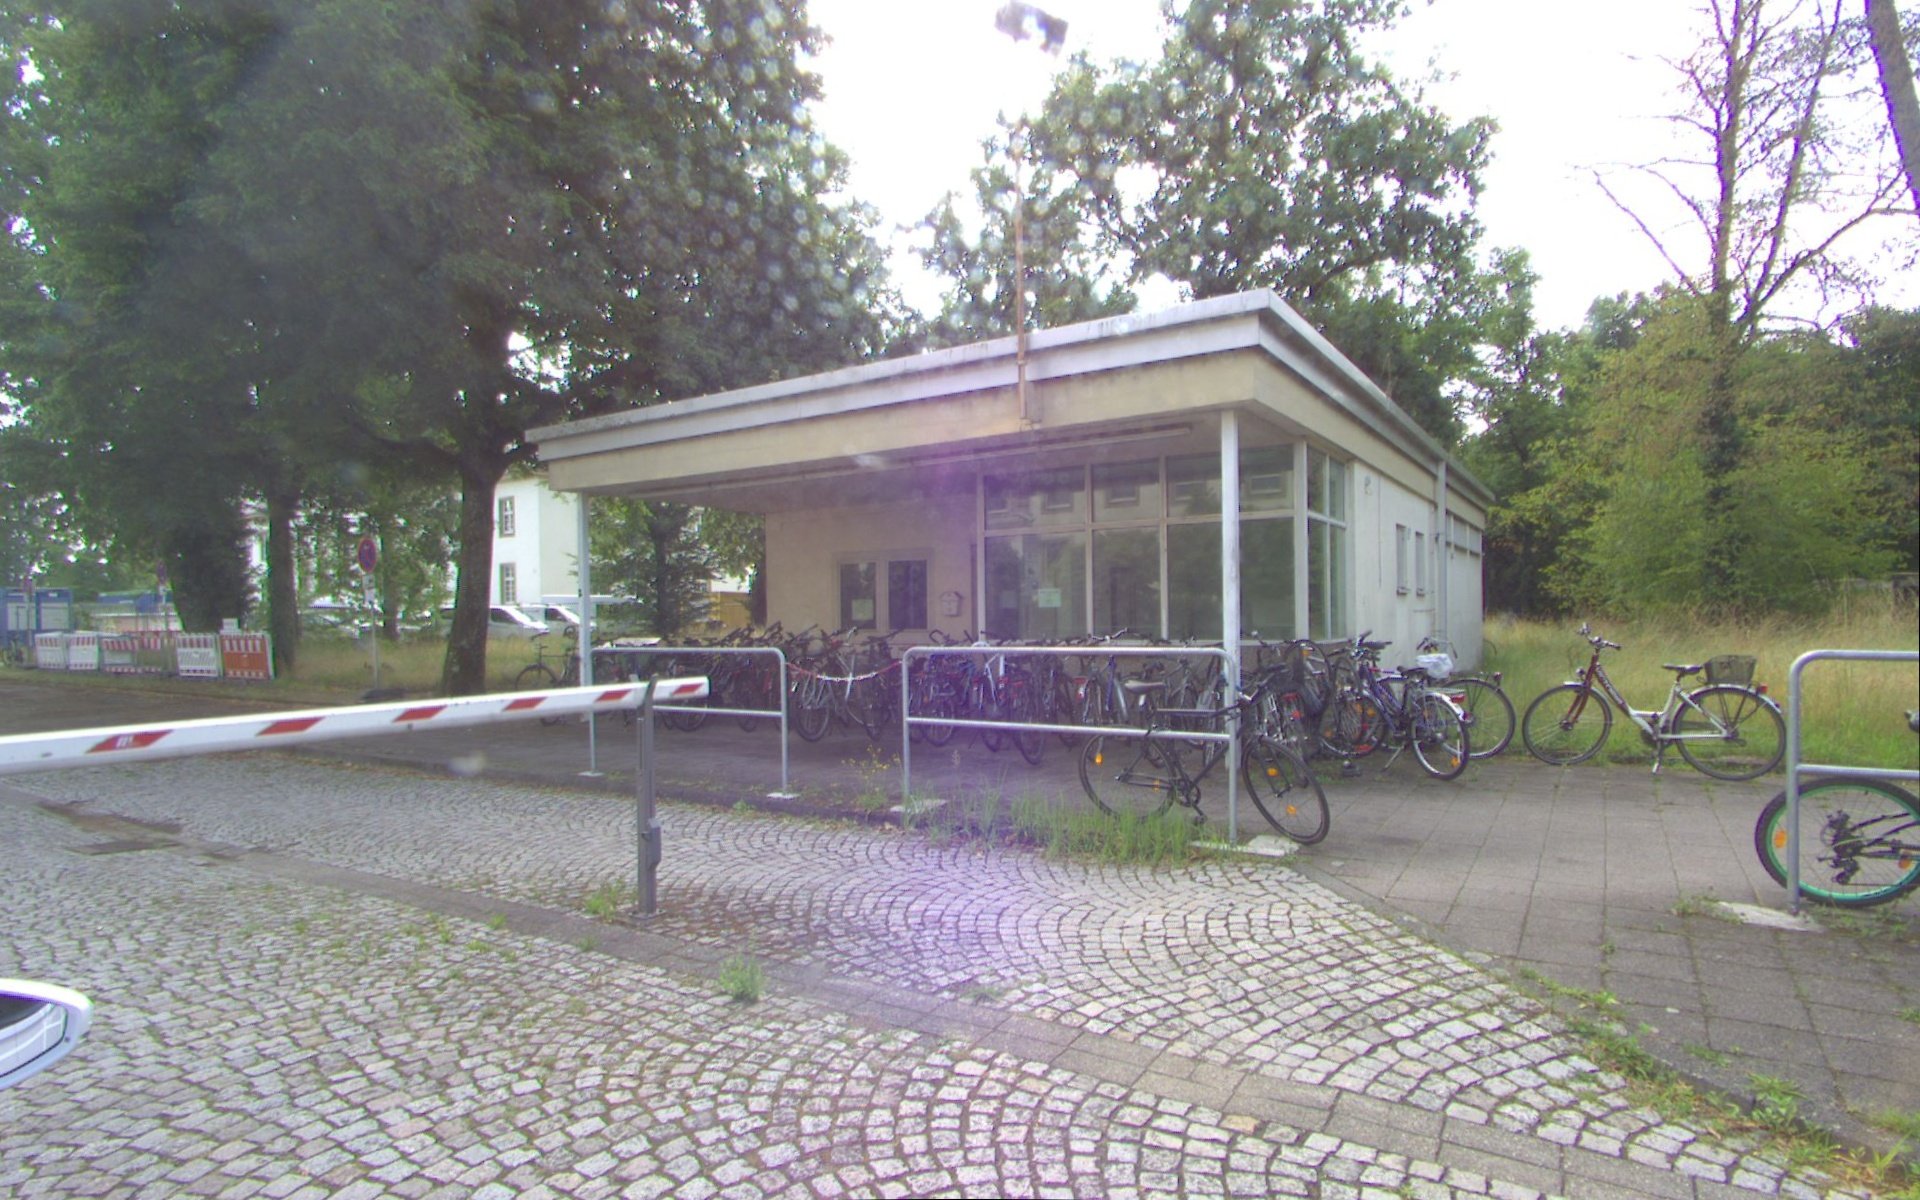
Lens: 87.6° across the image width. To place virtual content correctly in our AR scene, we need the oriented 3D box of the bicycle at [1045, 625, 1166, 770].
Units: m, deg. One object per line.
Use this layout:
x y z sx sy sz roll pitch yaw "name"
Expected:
1.424 0.860 9.476 0.478 1.186 1.947 -3 -1 27 "bicycle"

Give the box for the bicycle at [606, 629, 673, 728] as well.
-4.092 0.973 12.873 0.352 1.186 1.383 -3 -1 1 "bicycle"

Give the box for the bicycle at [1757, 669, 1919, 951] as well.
4.317 0.860 4.103 1.572 1.071 0.728 -1 1 33 "bicycle"

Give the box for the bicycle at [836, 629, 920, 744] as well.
-0.897 0.937 11.376 0.394 1.174 1.704 -3 -1 14 "bicycle"

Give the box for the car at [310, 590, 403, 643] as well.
-29.280 0.840 48.539 5.288 2.455 1.987 -2 -1 36 "car"

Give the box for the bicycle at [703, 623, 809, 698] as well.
-3.273 0.976 16.009 1.871 1.143 0.370 -3 0 31 "bicycle"

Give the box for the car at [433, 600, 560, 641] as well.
-20.640 0.915 44.687 4.746 1.671 2.000 -1 -1 5 "car"

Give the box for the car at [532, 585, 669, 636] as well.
-17.837 0.523 49.873 6.079 2.338 2.000 -1 -1 2 "car"

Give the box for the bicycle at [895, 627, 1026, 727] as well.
0.041 0.948 12.835 0.441 1.133 1.880 -2 -1 45 "bicycle"

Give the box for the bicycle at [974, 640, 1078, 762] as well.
0.691 0.951 9.919 0.348 1.044 1.769 -3 -1 26 "bicycle"

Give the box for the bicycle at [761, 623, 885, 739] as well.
-1.519 0.878 11.431 0.574 1.186 1.802 -3 -1 21 "bicycle"

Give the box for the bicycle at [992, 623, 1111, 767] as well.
0.926 0.844 9.585 0.386 1.186 2.070 -3 -1 26 "bicycle"

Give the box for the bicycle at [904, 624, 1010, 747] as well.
0.014 0.882 10.915 0.394 1.186 1.980 -3 -1 22 "bicycle"

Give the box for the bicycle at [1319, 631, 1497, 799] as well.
3.589 0.866 8.167 0.428 1.134 1.650 -2 2 -12 "bicycle"

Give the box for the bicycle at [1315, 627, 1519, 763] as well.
3.970 0.789 8.750 1.573 1.098 0.434 -1 0 32 "bicycle"

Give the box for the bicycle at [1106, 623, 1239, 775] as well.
1.989 0.833 9.135 0.479 1.186 2.066 -3 -1 31 "bicycle"

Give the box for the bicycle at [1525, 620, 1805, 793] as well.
5.360 0.752 7.701 0.432 1.186 1.707 -2 1 -44 "bicycle"

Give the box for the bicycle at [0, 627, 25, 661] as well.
-30.156 1.405 31.723 1.702 1.020 0.331 -3 -1 32 "bicycle"

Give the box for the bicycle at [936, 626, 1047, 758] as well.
0.370 0.888 10.334 0.395 1.186 2.016 -3 -1 23 "bicycle"

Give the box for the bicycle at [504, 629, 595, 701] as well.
-6.644 1.032 16.191 1.562 1.101 0.503 -1 0 31 "bicycle"

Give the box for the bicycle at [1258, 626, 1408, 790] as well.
3.001 0.816 8.217 0.428 1.186 1.653 -2 -1 -5 "bicycle"

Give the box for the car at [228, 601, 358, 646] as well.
-28.514 0.984 42.928 1.973 1.844 4.208 -2 -1 35 "car"

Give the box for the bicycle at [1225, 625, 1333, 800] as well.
2.500 0.829 7.988 0.428 1.186 1.652 -3 0 5 "bicycle"

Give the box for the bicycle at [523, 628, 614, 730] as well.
-5.061 0.993 13.022 0.425 1.186 1.382 -3 1 8 "bicycle"

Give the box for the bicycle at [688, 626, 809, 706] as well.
-3.168 0.972 14.950 1.866 1.134 0.371 -1 0 22 "bicycle"

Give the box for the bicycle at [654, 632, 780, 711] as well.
-3.485 1.004 14.285 1.880 1.081 0.371 -1 0 22 "bicycle"

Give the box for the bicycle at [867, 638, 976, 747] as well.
-0.375 0.977 11.077 0.394 1.042 1.980 -3 -1 22 "bicycle"

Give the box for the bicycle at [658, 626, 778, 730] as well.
-3.018 0.948 12.673 0.353 1.186 1.799 -3 -1 27 "bicycle"

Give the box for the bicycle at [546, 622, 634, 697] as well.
-6.146 0.998 16.597 1.533 1.186 0.503 -3 -1 32 "bicycle"

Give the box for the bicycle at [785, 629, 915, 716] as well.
-1.545 0.986 13.989 1.866 1.134 0.371 0 1 23 "bicycle"

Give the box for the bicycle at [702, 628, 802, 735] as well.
-2.528 0.968 12.356 0.488 1.186 1.749 -3 -1 12 "bicycle"

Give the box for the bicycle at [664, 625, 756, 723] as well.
-3.240 0.938 13.097 0.353 1.186 1.378 -3 -1 24 "bicycle"

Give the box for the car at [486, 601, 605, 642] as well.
-19.491 1.012 47.211 4.746 1.812 2.000 -1 -1 5 "car"

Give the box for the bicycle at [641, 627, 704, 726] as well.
-3.699 0.959 12.942 0.352 1.186 1.383 -3 -1 1 "bicycle"

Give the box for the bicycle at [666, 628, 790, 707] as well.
-3.405 0.996 14.643 1.867 1.095 0.371 -2 0 23 "bicycle"

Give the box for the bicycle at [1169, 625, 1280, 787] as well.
2.208 0.824 8.256 0.430 1.186 1.388 -3 -1 33 "bicycle"

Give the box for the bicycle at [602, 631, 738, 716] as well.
-4.020 1.013 13.906 1.764 1.133 0.446 -1 0 8 "bicycle"

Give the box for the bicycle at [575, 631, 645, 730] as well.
-4.489 1.005 12.911 0.352 1.186 1.383 -3 -1 1 "bicycle"

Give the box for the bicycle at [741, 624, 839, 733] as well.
-2.029 0.911 12.193 0.488 1.186 1.805 -3 -1 12 "bicycle"

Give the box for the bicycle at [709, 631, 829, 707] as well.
-2.917 1.061 15.269 1.866 1.097 0.371 -2 0 22 "bicycle"

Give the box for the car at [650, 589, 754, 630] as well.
-14.186 0.542 54.875 5.618 1.982 2.435 -4 -1 35 "car"

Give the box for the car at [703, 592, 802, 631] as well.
-12.080 0.690 58.124 5.618 1.982 2.435 -4 -1 35 "car"

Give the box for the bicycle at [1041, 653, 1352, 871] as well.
1.408 0.898 6.066 1.690 1.087 0.728 -1 1 33 "bicycle"

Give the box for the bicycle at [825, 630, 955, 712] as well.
-1.015 1.024 14.346 1.866 1.133 0.371 -2 0 22 "bicycle"
